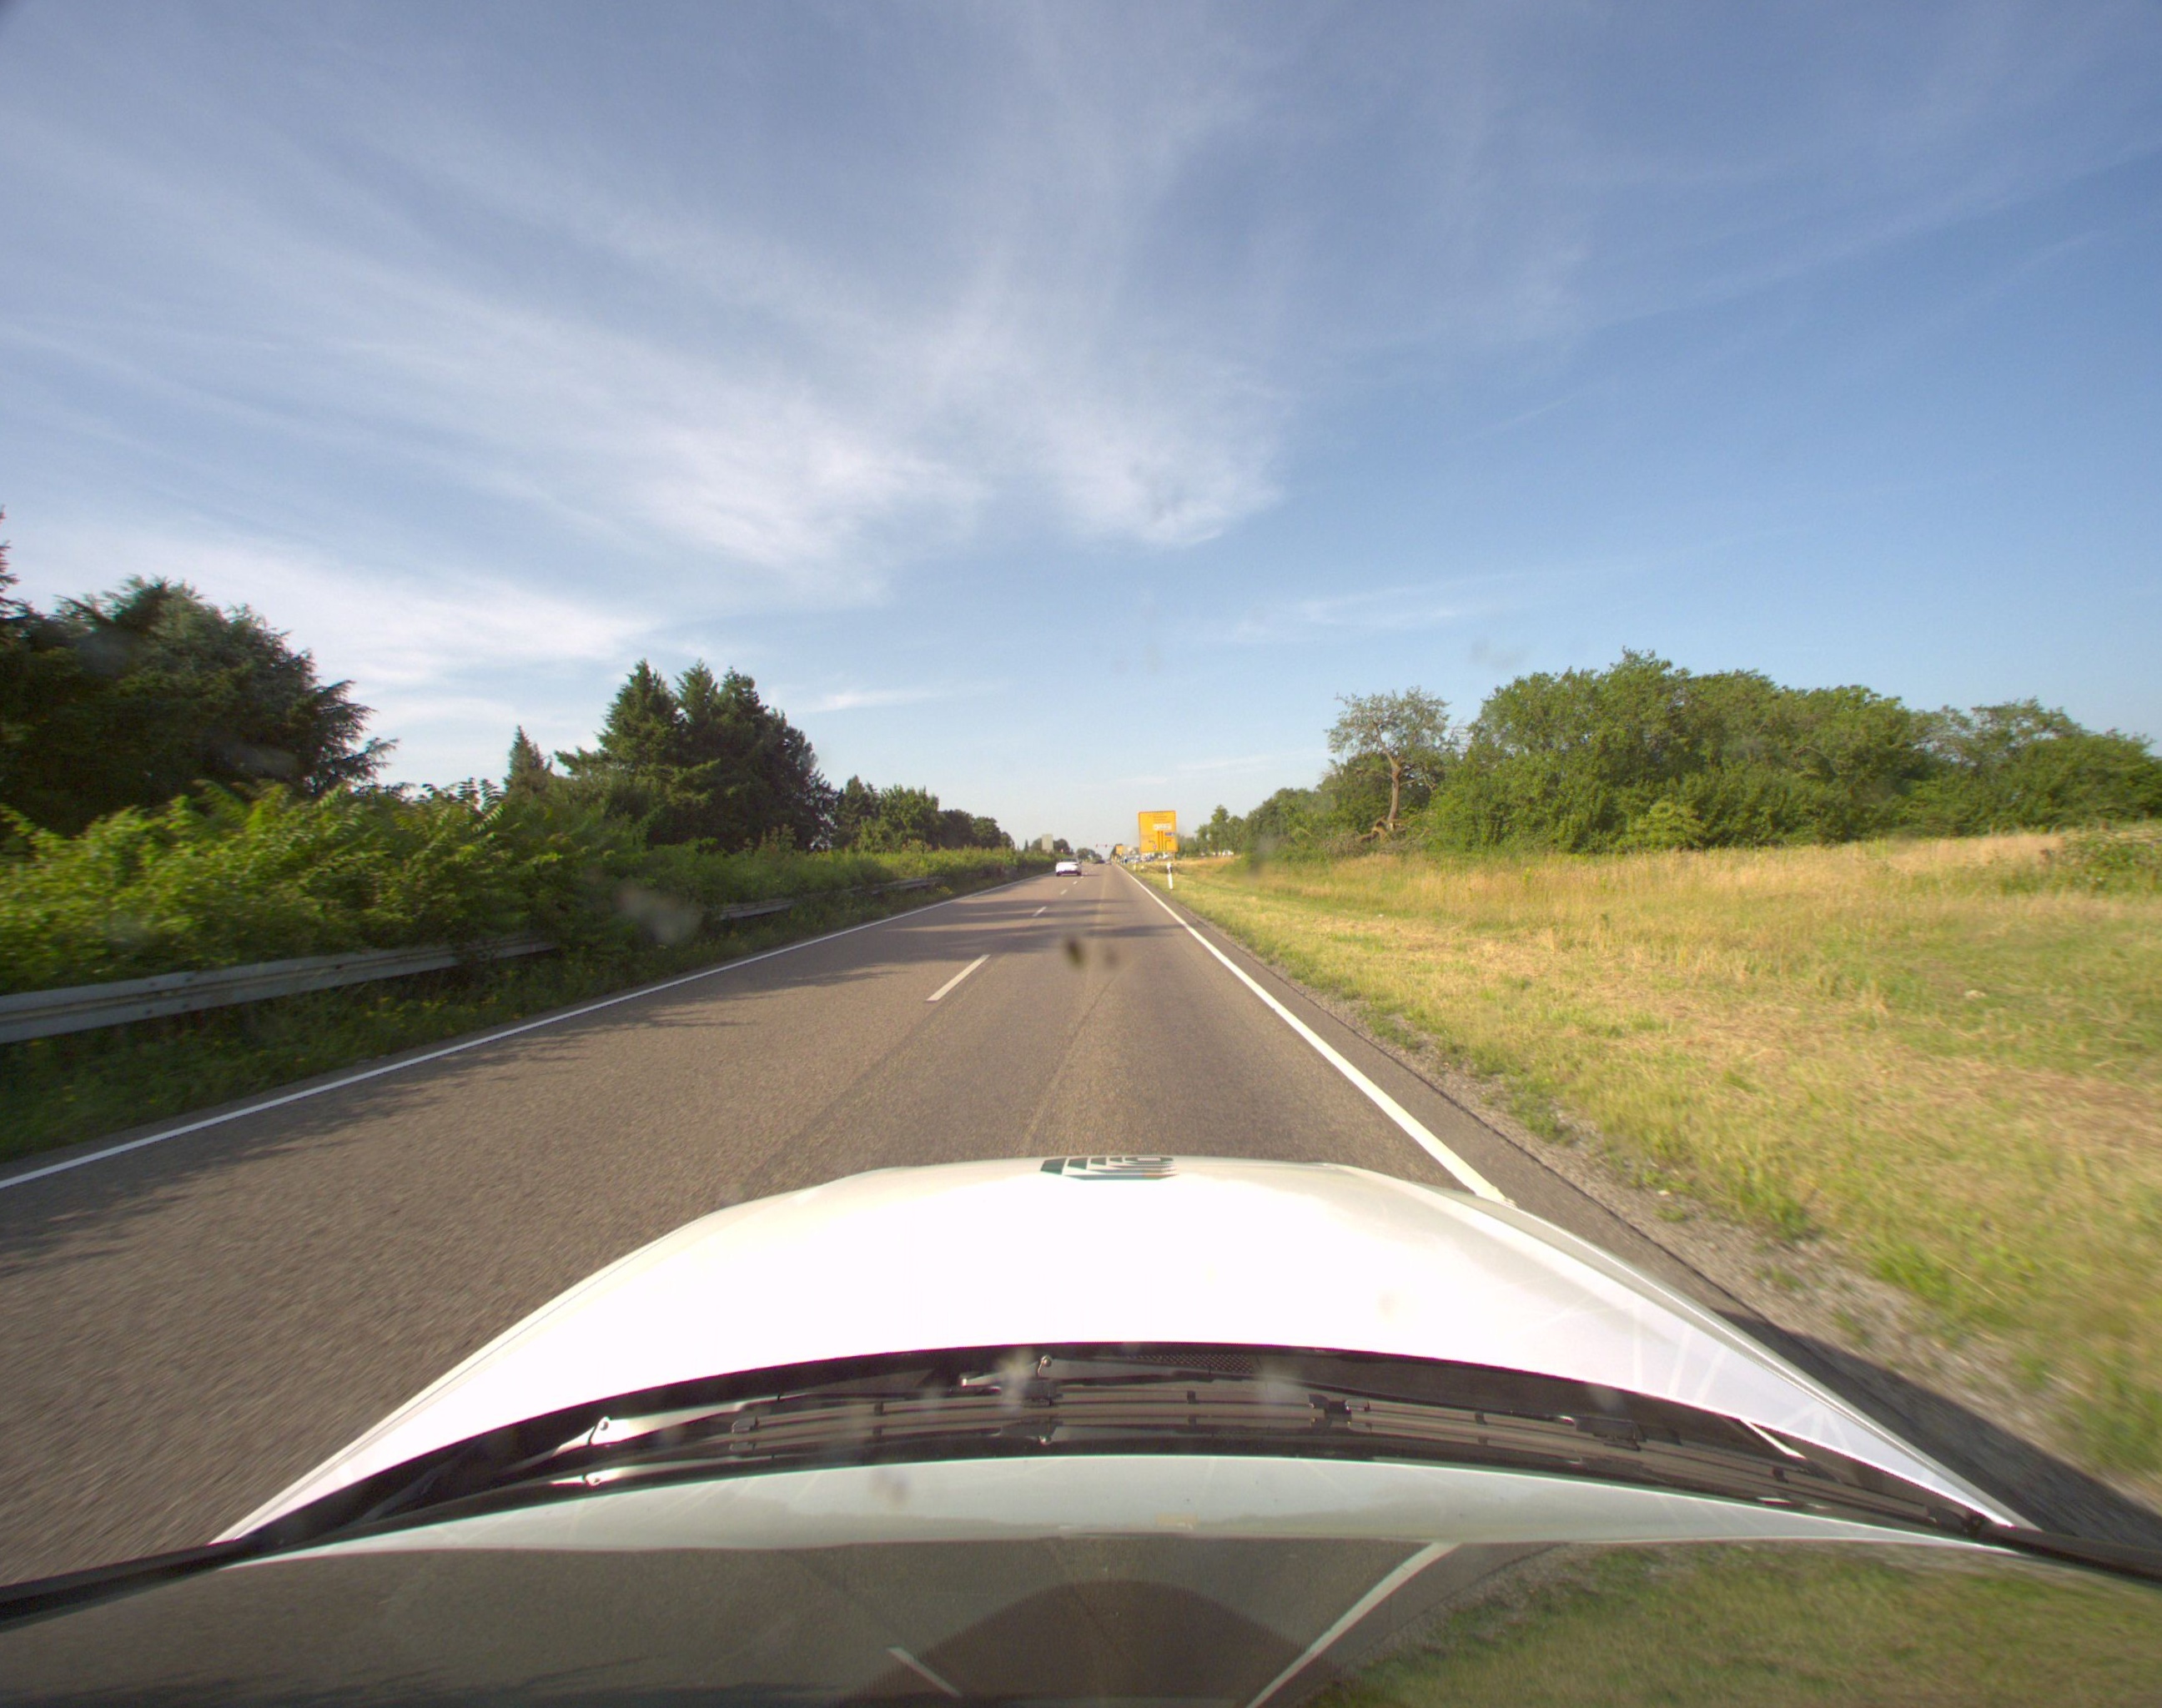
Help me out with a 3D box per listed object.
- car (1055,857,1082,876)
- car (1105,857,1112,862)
[{"bbox_3d":[-0.939,0.941,62.761,1.903,1.422,4.001,-1,0,1],"label":"car"},{"bbox_3d":[8.402,1.799,248.674,1.986,1.486,4.001,-1,0,1],"label":"car"}]
